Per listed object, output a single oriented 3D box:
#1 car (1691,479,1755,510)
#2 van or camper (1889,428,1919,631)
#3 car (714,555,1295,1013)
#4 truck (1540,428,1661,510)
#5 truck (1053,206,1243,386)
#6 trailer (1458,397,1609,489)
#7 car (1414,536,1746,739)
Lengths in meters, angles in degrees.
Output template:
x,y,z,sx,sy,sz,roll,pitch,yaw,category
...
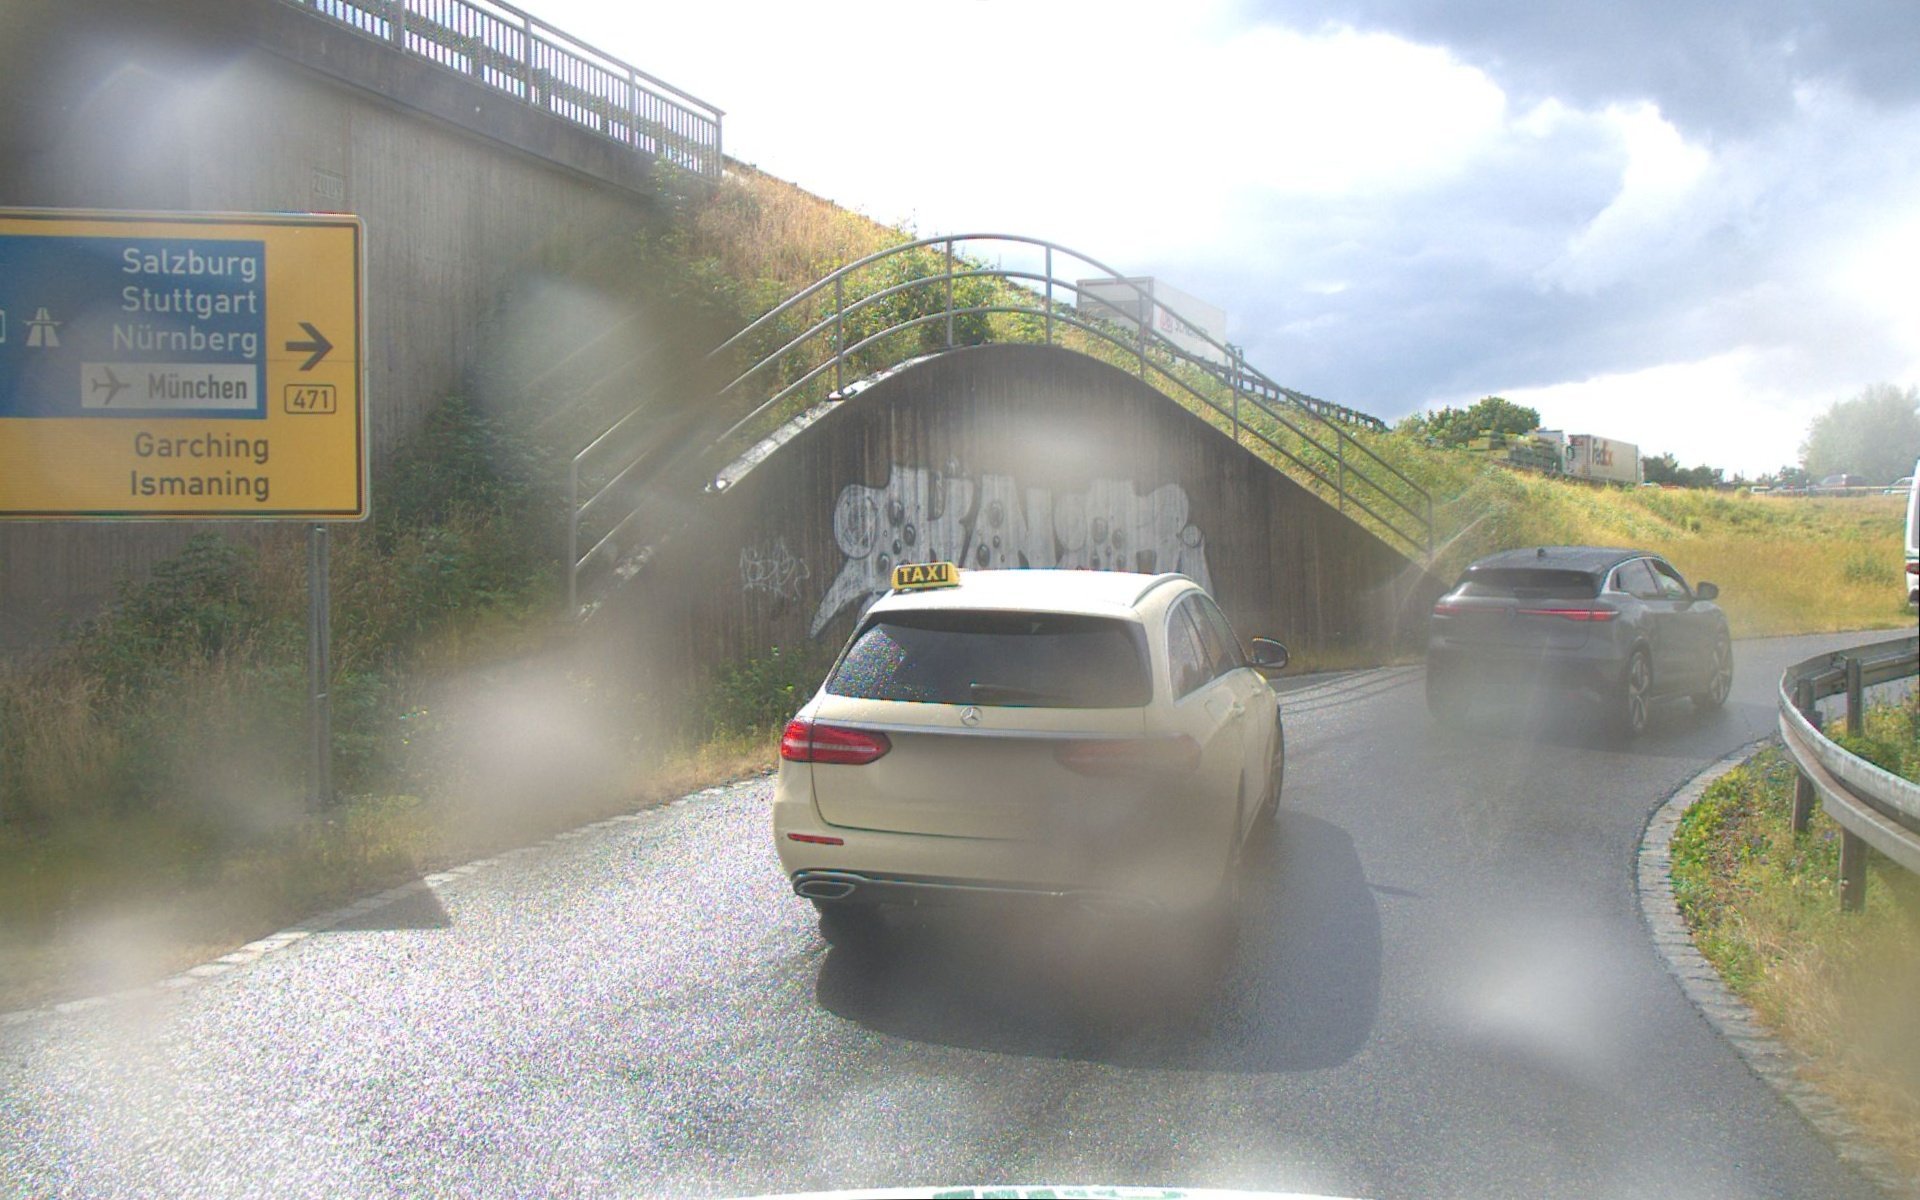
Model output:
x,y,z,sx,sy,sz,roll,pitch,yaw,category
53.195,-7.327,115.326,3.911,2.049,1.824,1,0,28,car
16.180,-1.035,23.158,5.899,2.776,2.423,-2,3,-22,van or camper
0.571,0.556,7.991,1.875,1.533,4.600,0,2,14,car
46.769,-9.290,120.122,4.381,4.581,19.323,1,0,33,truck
6.217,-9.440,52.849,3.118,4.035,9.228,1,0,26,truck
36.315,-9.594,103.767,4.335,4.025,20.162,1,1,33,trailer
5.691,0.215,14.910,1.690,1.551,3.983,2,3,38,car
